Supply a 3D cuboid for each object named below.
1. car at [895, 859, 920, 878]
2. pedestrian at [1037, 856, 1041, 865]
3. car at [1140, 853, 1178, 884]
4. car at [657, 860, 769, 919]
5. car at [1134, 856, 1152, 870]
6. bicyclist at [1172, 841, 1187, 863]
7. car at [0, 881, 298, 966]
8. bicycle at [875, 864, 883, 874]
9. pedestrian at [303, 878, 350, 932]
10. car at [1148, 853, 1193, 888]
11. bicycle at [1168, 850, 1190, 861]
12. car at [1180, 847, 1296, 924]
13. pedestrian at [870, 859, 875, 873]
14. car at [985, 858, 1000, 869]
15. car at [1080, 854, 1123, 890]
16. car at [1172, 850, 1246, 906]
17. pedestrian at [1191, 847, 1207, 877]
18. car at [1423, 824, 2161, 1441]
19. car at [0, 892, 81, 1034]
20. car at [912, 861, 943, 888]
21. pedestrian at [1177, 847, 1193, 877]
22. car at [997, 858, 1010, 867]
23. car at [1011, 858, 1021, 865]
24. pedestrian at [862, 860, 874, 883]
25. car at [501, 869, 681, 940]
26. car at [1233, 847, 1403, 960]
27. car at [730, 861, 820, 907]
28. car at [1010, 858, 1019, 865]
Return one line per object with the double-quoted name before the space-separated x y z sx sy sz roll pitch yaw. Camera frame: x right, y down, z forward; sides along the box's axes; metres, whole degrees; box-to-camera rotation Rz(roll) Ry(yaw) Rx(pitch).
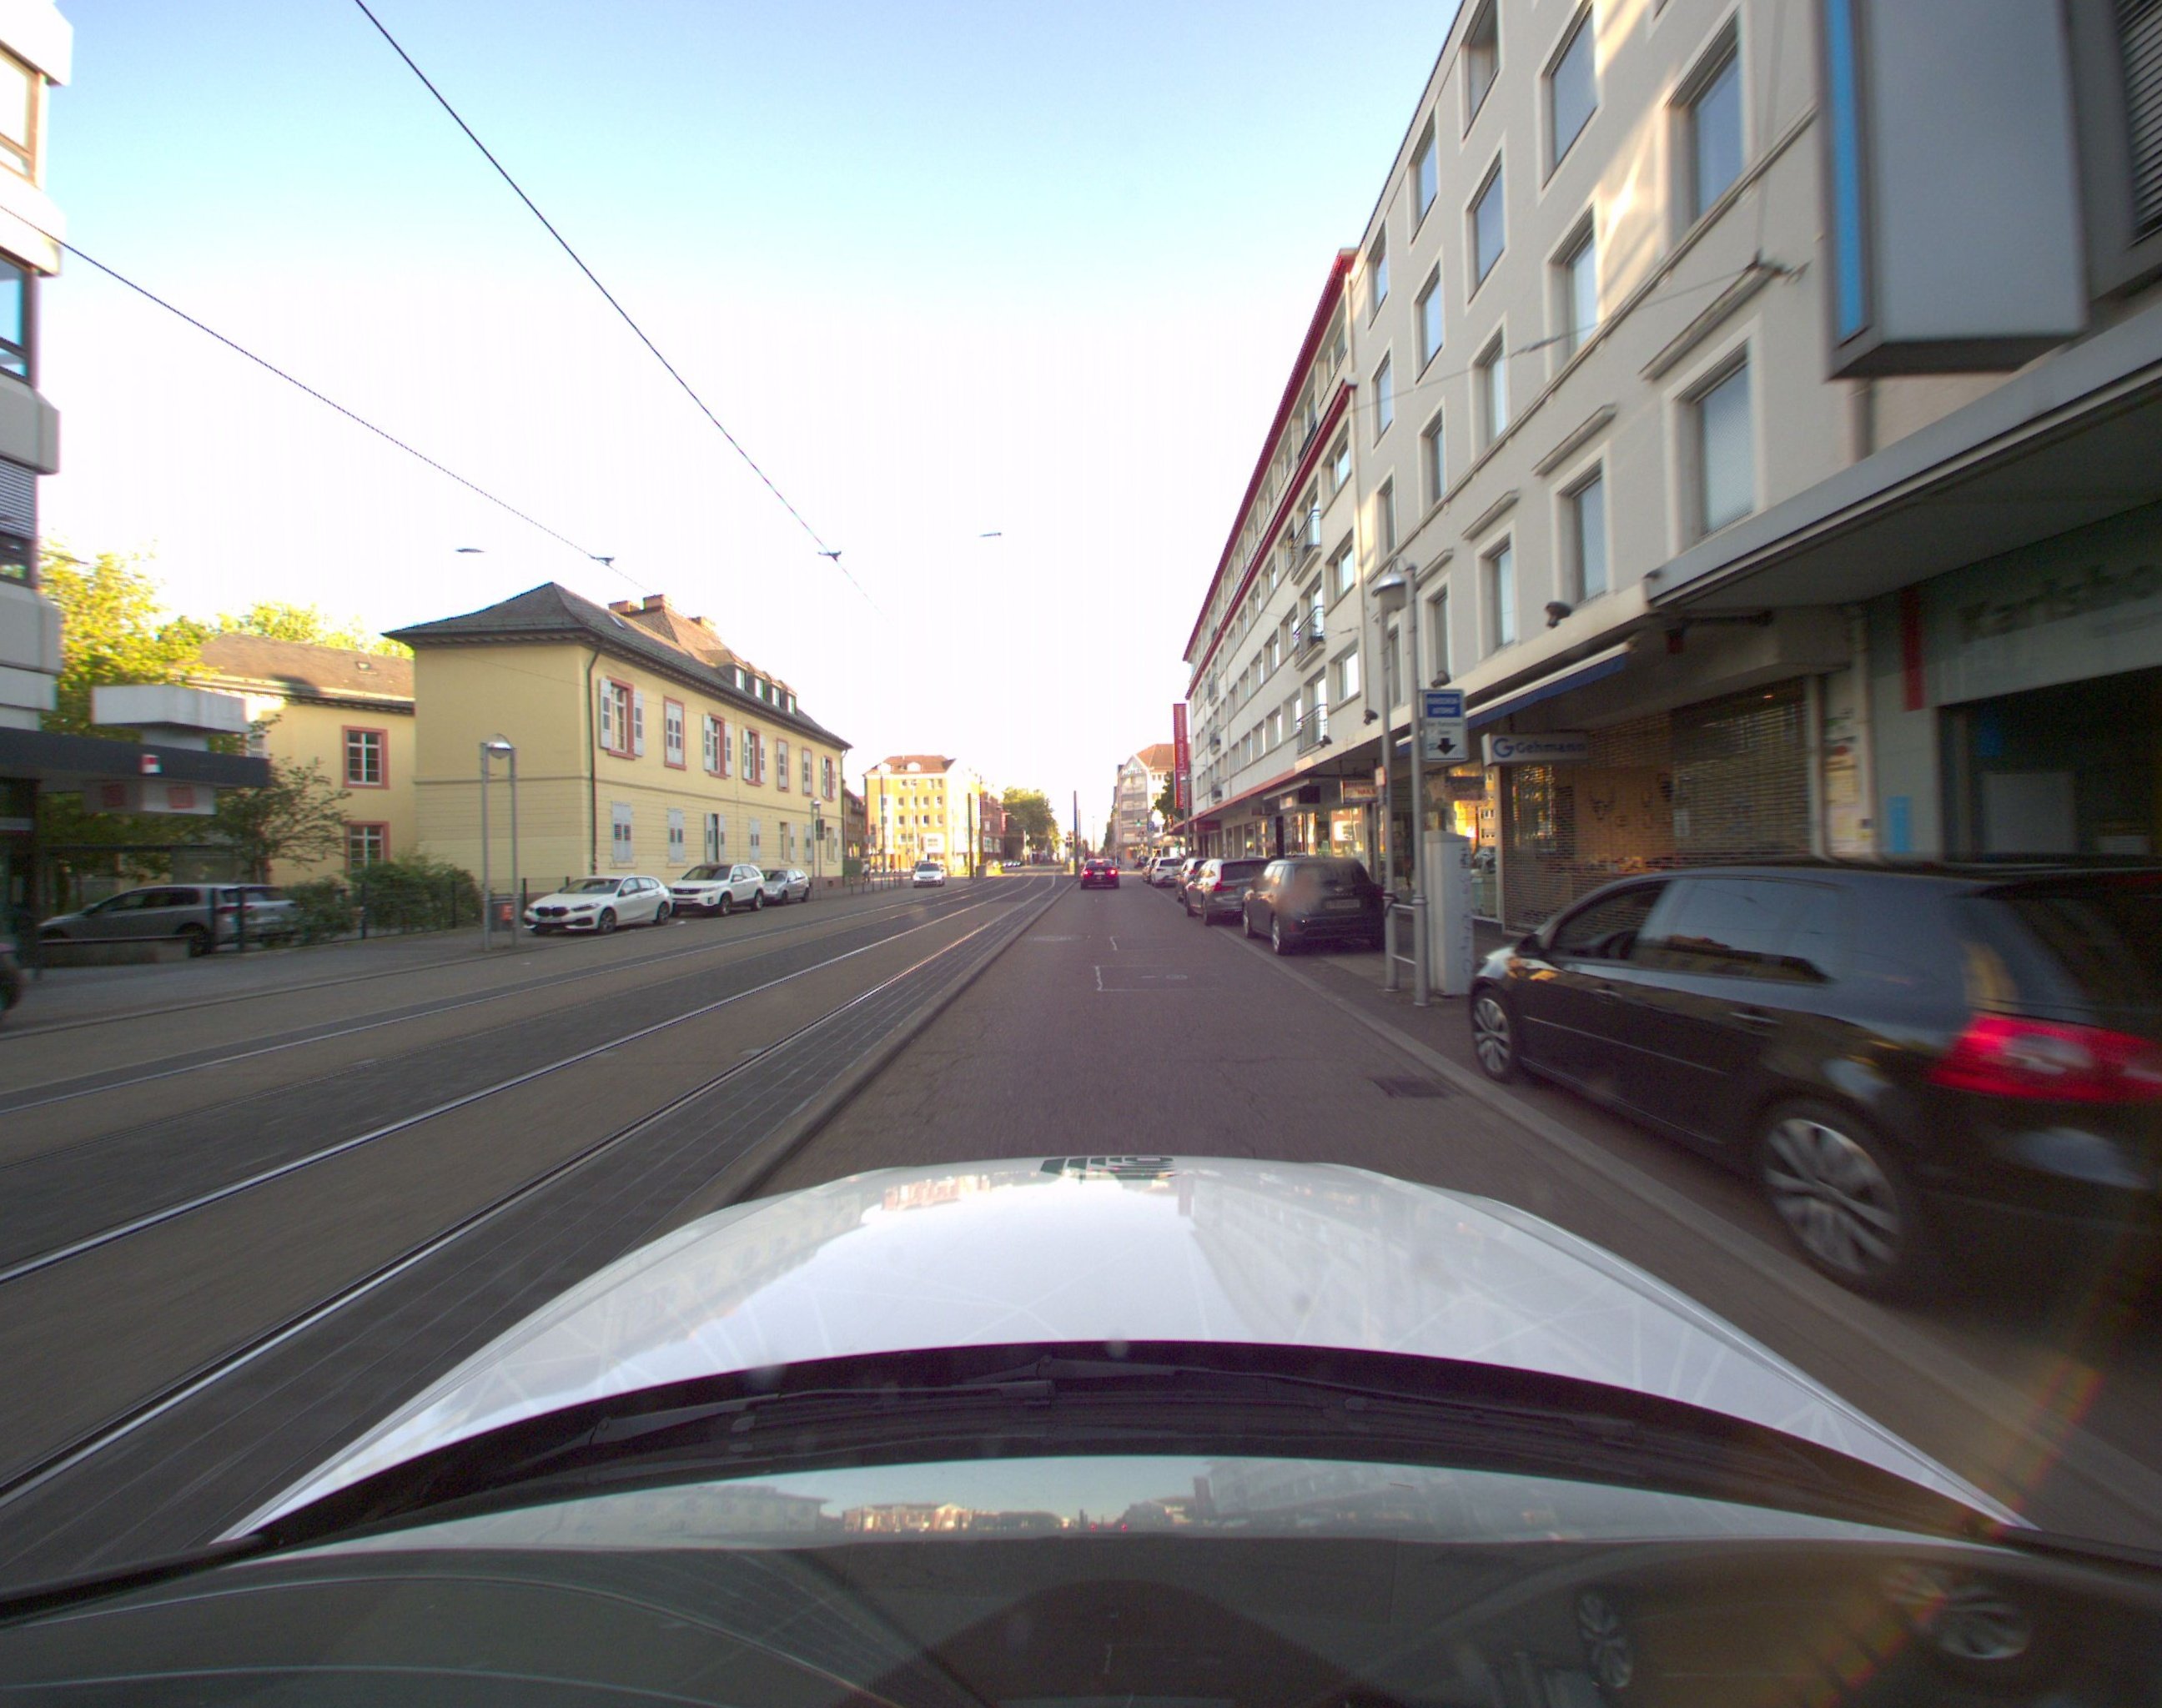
"car" -14.634 1.227 68.950 1.734 1.512 4.023 -2 0 -8
"pedestrian" -9.273 1.469 179.623 0.985 2.014 0.726 0 -1 0
"car" 4.291 0.763 45.187 1.728 1.512 4.687 -3 0 2
"car" -12.250 1.101 27.442 1.808 1.785 4.494 1 0 -2
"car" 7.392 1.025 97.265 1.986 1.552 4.001 -2 0 2
"bicyclist" 8.968 -0.172 74.057 0.844 1.917 1.103 -1 0 -36
"car" -19.308 1.404 16.996 3.977 1.467 1.844 -2 0 -2
"bicycle" -26.194 1.965 105.837 0.616 1.325 2.014 0 0 -3
"pedestrian" -22.831 1.532 24.664 0.743 1.572 0.675 -2 0 0
"car" 4.329 0.768 39.891 1.778 1.512 4.053 -3 0 2
"bicycle" 8.902 0.146 74.130 0.844 1.020 2.054 -1 0 -36
"car" 3.529 0.656 19.224 1.784 1.512 4.711 -3 0 0
"pedestrian" -26.985 1.547 105.331 0.501 1.868 0.562 0 0 -4
"car" -15.520 1.610 142.886 1.988 1.901 4.809 -2 0 -1
"car" 1.005 0.848 40.360 1.986 1.585 4.001 -2 0 1
"car" 3.932 0.692 25.649 1.728 1.512 4.305 -3 0 2
"pedestrian" 6.914 0.456 47.724 0.726 1.741 0.863 -3 0 2
"car" 3.447 0.685 4.137 1.714 1.512 4.169 -3 0 2
"car" -12.751 1.210 7.530 1.679 1.512 4.217 1 0 2
"car" -9.593 1.242 50.822 1.807 1.512 4.020 -2 0 -11
"pedestrian" 6.205 0.482 48.685 0.824 1.718 0.843 -3 0 1
"car" -14.691 1.644 153.833 1.988 1.585 4.585 -2 0 -1
"car" -14.710 1.681 184.727 1.988 1.585 4.477 -2 0 -1
"pedestrian" -15.429 1.259 58.911 0.733 1.584 0.948 -2 0 -20
"car" -12.621 1.235 21.368 1.805 1.512 4.436 -2 0 3
"car" 3.714 0.699 13.481 1.679 1.512 4.036 -3 0 2
"car" -12.321 1.159 33.121 1.805 1.617 4.218 2 0 3
"car" -14.549 1.598 177.198 1.665 1.448 4.199 -2 0 -2
